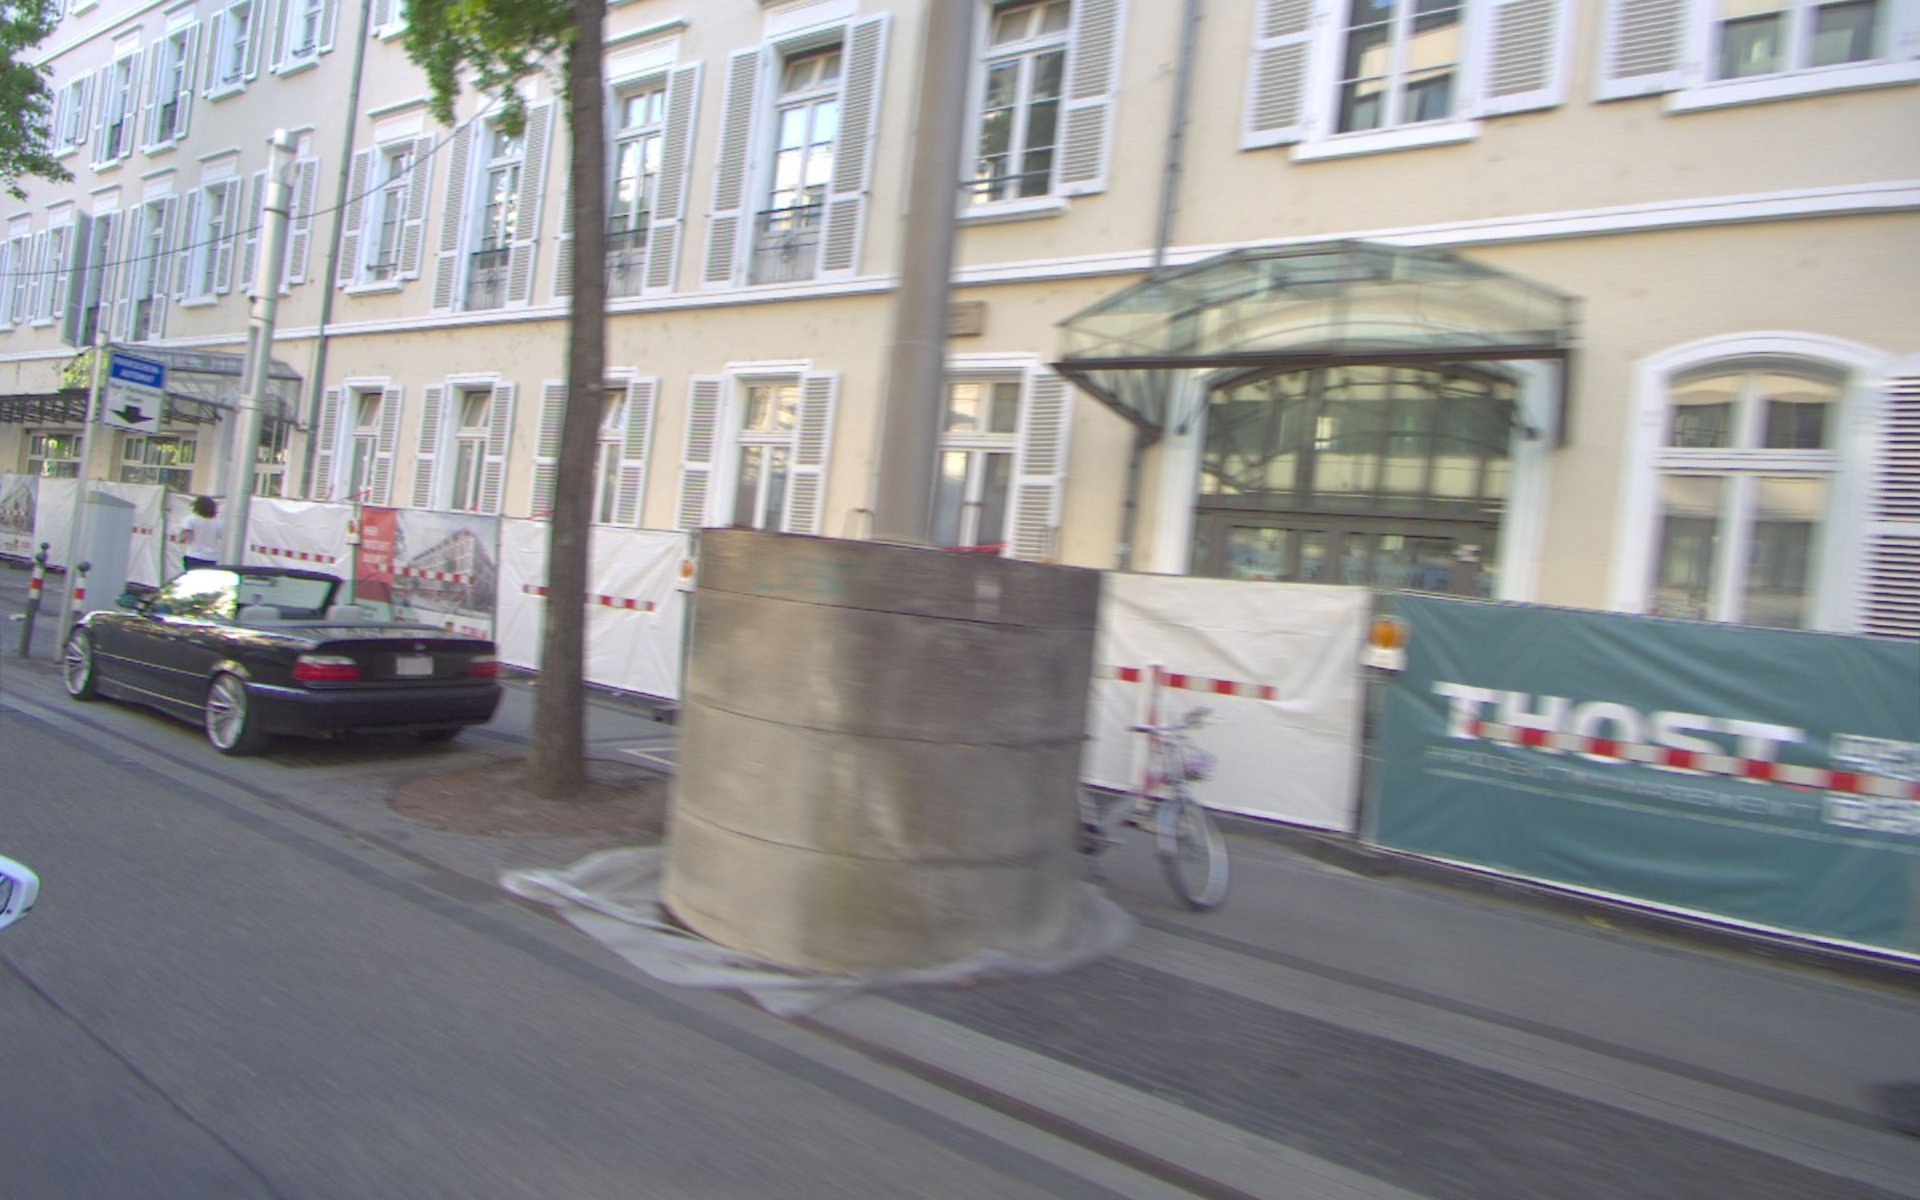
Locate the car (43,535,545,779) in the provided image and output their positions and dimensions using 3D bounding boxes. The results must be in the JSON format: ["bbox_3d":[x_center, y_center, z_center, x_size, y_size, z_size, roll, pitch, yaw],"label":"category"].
[{"bbox_3d":[-5.601,0.342,8.317,4.258,1.328,1.795,6,0,32],"label":"car"}]

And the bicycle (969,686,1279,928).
[{"bbox_3d":[0.980,1.195,6.090,1.642,1.085,0.655,7,2,12],"label":"bicycle"}]

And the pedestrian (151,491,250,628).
[{"bbox_3d":[-11.304,-0.601,14.974,1.035,1.910,0.713,7,1,32],"label":"pedestrian"}]
